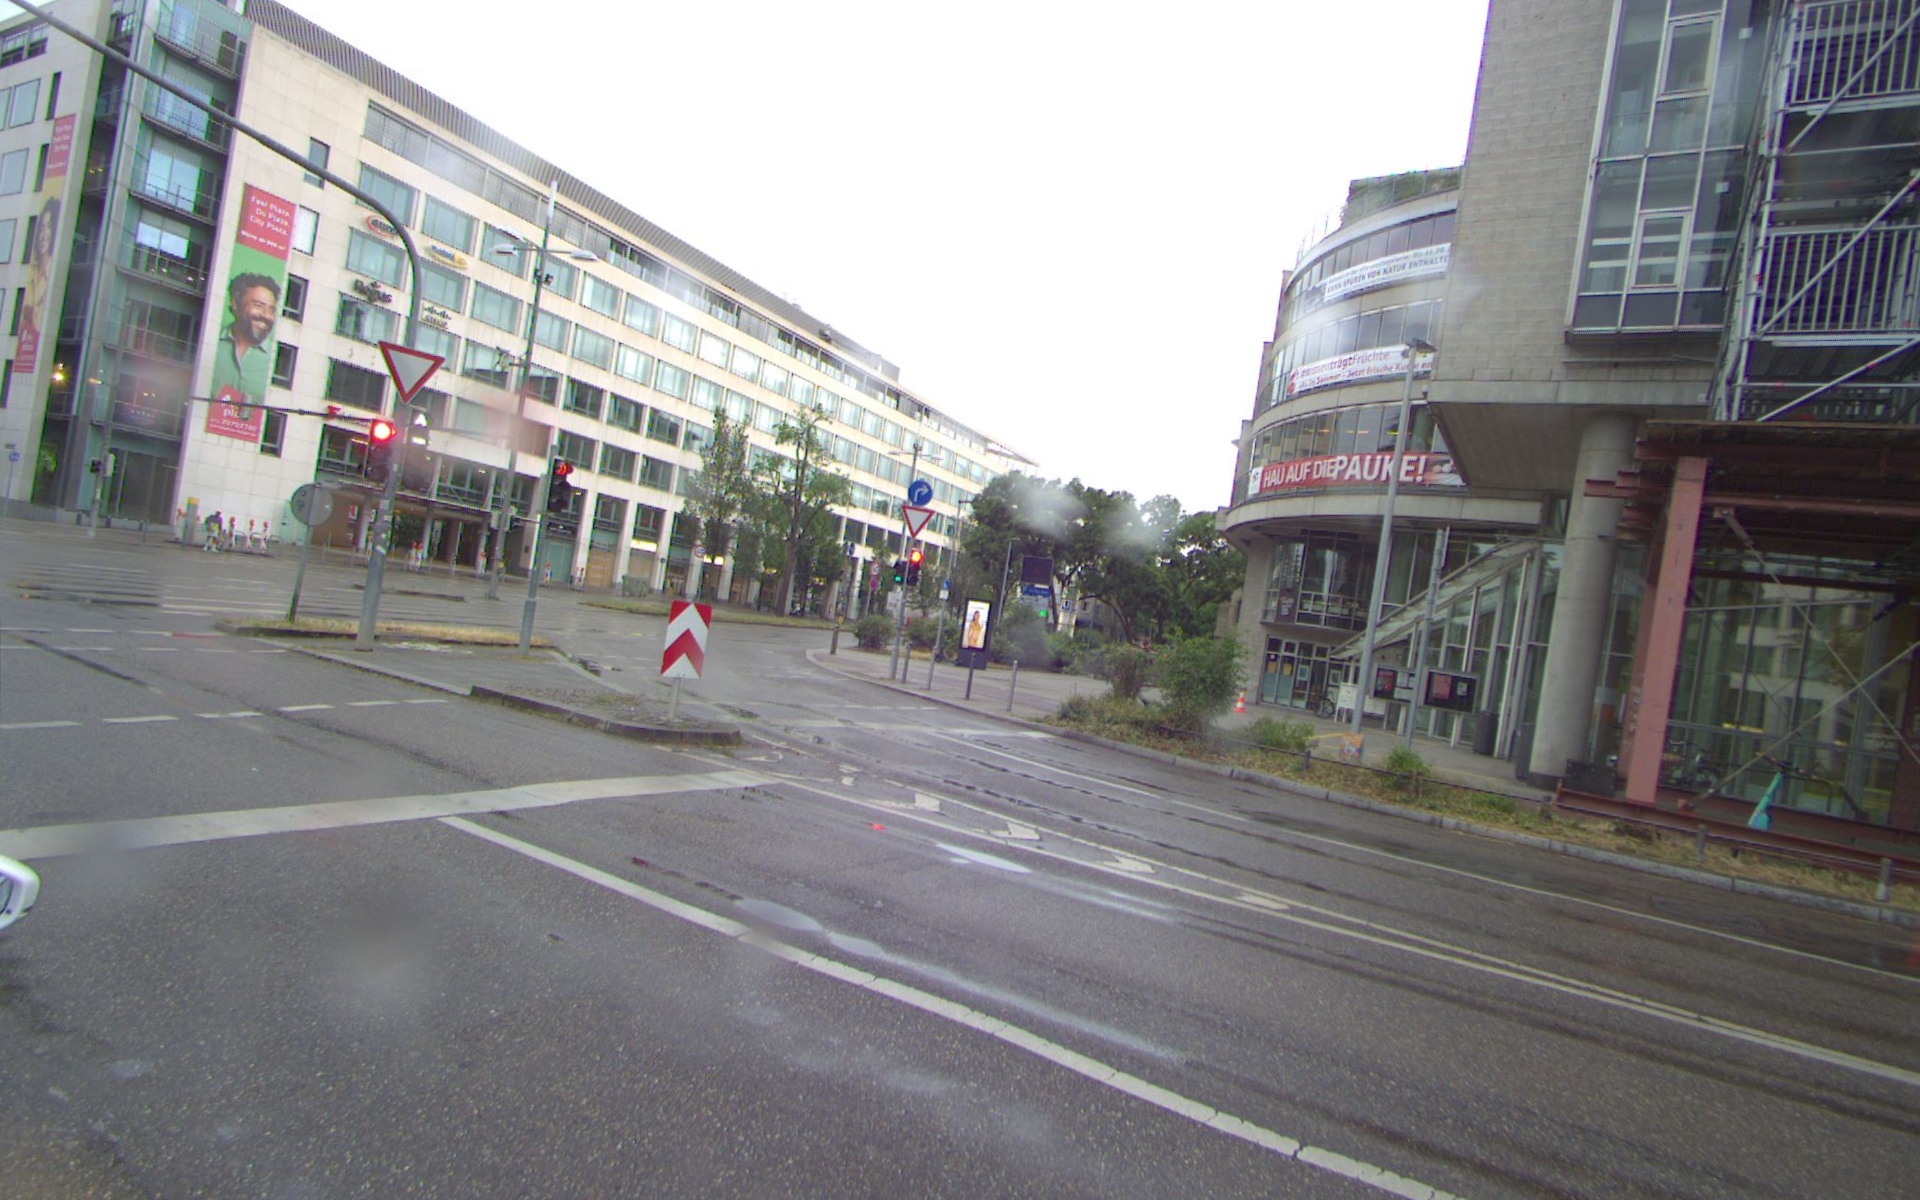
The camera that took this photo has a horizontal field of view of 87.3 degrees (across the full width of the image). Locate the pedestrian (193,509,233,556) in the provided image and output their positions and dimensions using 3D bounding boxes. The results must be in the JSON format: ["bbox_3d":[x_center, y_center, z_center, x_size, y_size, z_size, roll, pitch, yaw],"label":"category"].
[{"bbox_3d":[-32.245,-2.915,43.444,0.822,1.838,0.963,6,-1,31],"label":"pedestrian"}]

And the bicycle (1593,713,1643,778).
[{"bbox_3d":[13.670,3.005,20.923,0.576,1.208,1.614,7,-2,27],"label":"bicycle"}]

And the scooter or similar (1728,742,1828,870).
[{"bbox_3d":[9.232,2.278,11.408,0.577,1.208,1.780,7,-1,34],"label":"scooter or similar"}]

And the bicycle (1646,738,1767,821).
[{"bbox_3d":[13.495,3.235,18.219,1.584,1.208,0.587,7,-1,6],"label":"bicycle"}]

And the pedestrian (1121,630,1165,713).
[{"bbox_3d":[4.273,1.655,23.410,0.776,1.796,0.781,7,-1,13],"label":"pedestrian"}]

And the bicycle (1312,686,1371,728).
[{"bbox_3d":[13.464,3.761,35.521,1.753,1.208,0.586,6,-1,29],"label":"bicycle"}]
